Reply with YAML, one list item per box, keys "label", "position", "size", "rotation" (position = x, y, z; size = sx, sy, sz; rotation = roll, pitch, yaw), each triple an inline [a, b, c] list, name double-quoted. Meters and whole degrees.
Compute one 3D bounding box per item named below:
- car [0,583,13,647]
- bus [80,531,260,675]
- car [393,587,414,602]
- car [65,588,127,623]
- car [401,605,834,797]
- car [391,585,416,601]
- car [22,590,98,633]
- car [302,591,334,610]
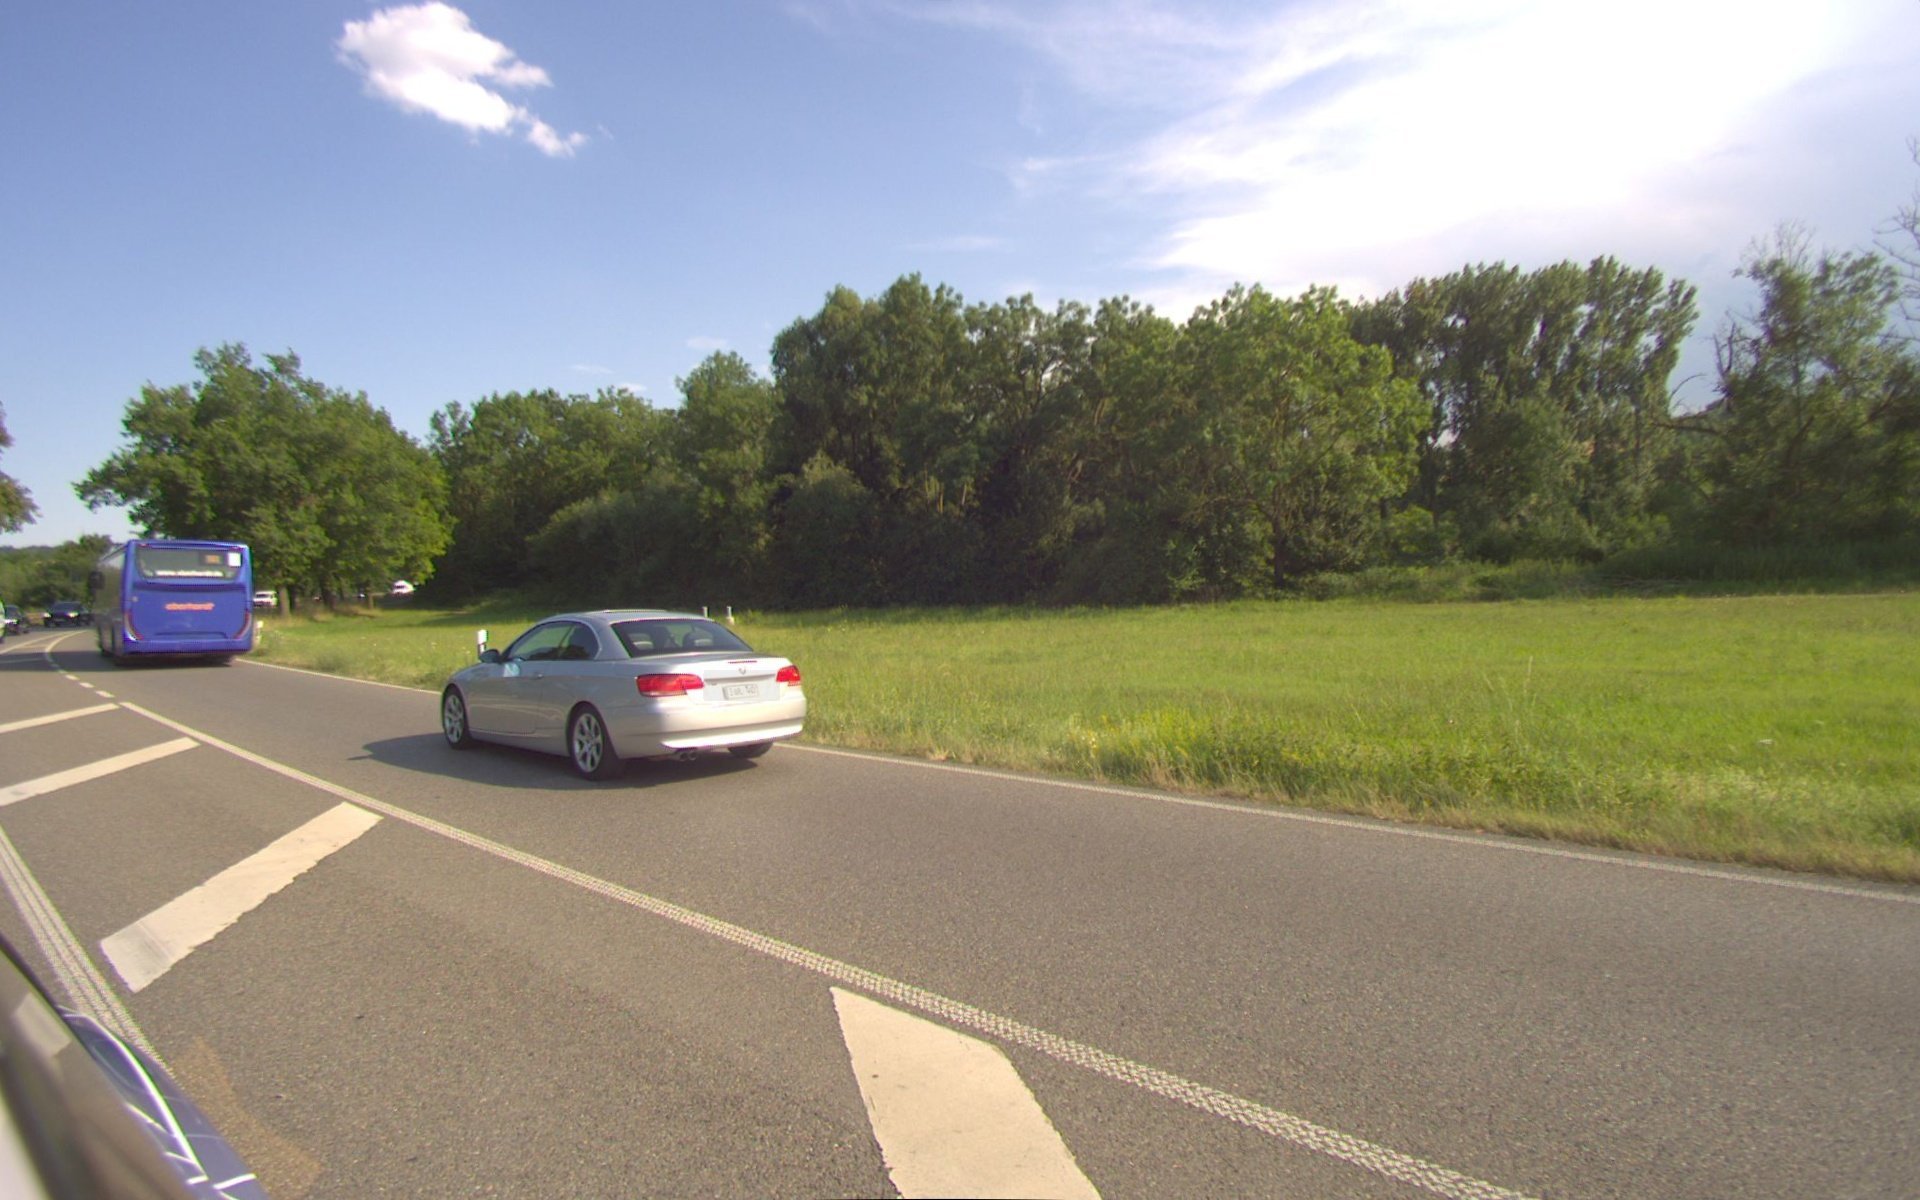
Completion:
- label: "car"
  position: [-37.287, 0.609, 37.765]
  size: [2.055, 2.435, 5.156]
  rotation: [-2, 2, -35]
- label: "bus"
  position: [-22.042, -0.017, 27.850]
  size: [2.761, 3.205, 12.139]
  rotation: [-2, 2, -43]
- label: "car"
  position: [-99.017, -0.973, 180.115]
  size: [2.055, 2.435, 5.156]
  rotation: [-1, 1, -13]
- label: "car"
  position: [-62.503, 0.351, 73.317]
  size: [2.054, 2.435, 5.159]
  rotation: [-2, 2, -25]
- label: "car"
  position: [-3.403, 0.739, 9.483]
  size: [4.747, 1.344, 1.682]
  rotation: [0, 1, 41]
- label: "car"
  position: [-88.367, -1.107, 160.735]
  size: [2.055, 2.435, 5.156]
  rotation: [-1, 1, -13]
- label: "car"
  position: [-55.572, 0.641, 62.613]
  size: [2.054, 2.435, 5.159]
  rotation: [-2, 2, -25]
- label: "car"
  position: [-87.154, 0.034, 137.475]
  size: [2.055, 2.435, 5.156]
  rotation: [-1, 1, -13]
